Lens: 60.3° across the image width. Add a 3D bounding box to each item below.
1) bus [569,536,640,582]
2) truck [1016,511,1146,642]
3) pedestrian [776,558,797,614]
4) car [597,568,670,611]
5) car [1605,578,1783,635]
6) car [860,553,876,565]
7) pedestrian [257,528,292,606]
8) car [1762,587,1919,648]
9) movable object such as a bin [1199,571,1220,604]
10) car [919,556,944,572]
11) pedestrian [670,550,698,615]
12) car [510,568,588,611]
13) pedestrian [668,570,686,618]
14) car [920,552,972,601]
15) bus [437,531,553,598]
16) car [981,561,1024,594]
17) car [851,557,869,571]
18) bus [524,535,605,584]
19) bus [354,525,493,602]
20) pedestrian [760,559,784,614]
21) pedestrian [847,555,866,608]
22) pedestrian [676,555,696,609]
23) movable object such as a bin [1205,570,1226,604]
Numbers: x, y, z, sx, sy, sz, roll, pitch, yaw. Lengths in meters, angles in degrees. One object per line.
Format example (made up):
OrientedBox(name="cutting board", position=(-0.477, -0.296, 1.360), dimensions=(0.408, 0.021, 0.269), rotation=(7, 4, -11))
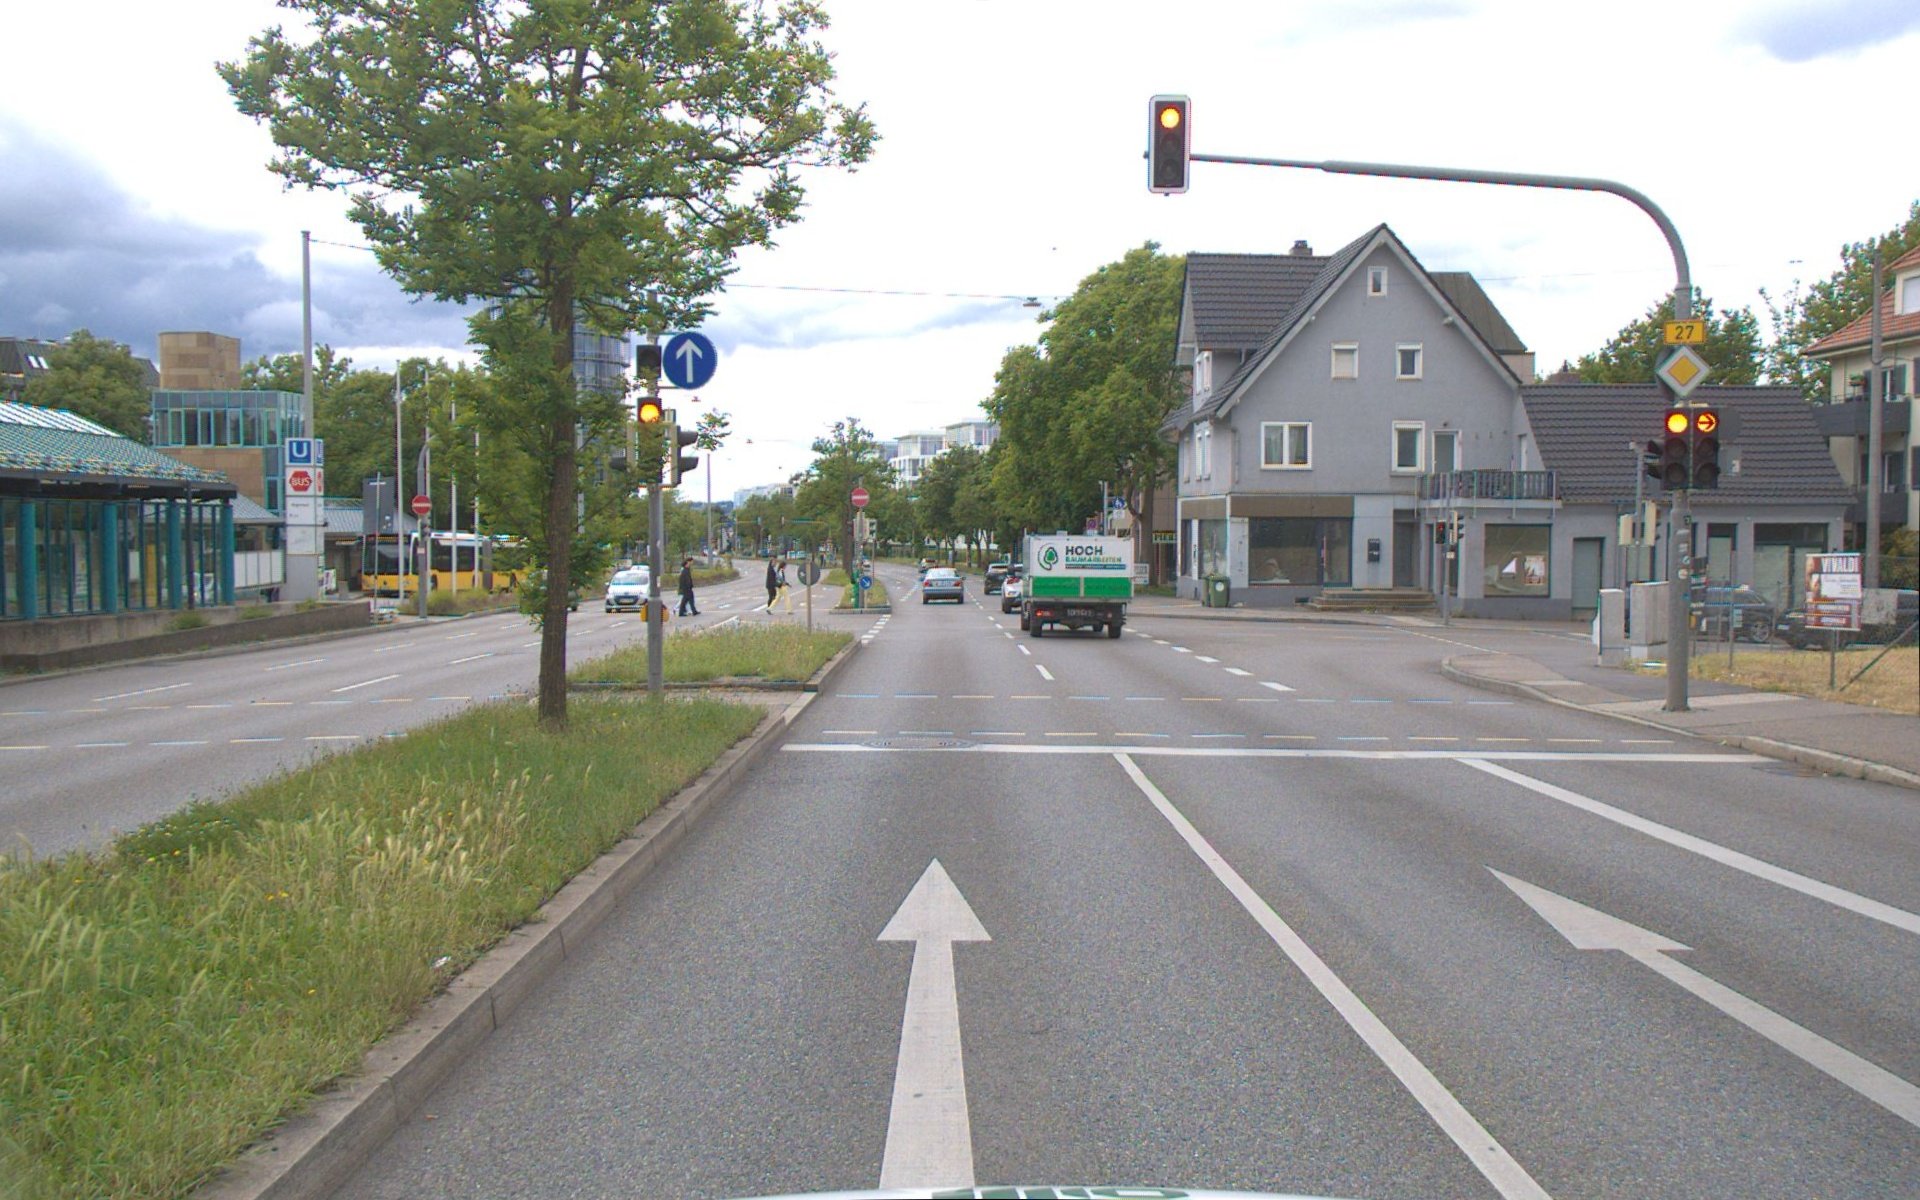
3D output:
OrientedBox(name="bus", position=(-28.751, -3.306, 134.312), dimensions=(2.772, 3.490, 10.739), rotation=(-1, 1, 4))
OrientedBox(name="truck", position=(2.611, -0.619, 37.490), dimensions=(2.420, 2.656, 6.549), rotation=(1, 2, 0))
OrientedBox(name="pedestrian", position=(-5.474, -0.438, 52.237), dimensions=(0.641, 1.746, 0.451), rotation=(-1, 1, -7))
OrientedBox(name="car", position=(-11.908, -0.402, 60.526), dimensions=(1.953, 1.512, 3.999), rotation=(-1, 1, -2))
OrientedBox(name="car", position=(19.838, 0.155, 44.796), dimensions=(4.006, 1.395, 1.799), rotation=(2, 1, -2))
OrientedBox(name="car", position=(-11.642, -5.186, 208.076), dimensions=(1.954, 1.545, 3.997), rotation=(-1, 1, -4))
OrientedBox(name="pedestrian", position=(-18.176, -0.863, 43.873), dimensions=(0.668, 2.049, 0.645), rotation=(-1, 1, -5))
OrientedBox(name="car", position=(22.618, 0.444, 41.592), dimensions=(4.006, 1.395, 1.799), rotation=(2, 1, -2))
OrientedBox(name="movable object such as a bin", position=(8.188, -0.422, 54.222), dimensions=(0.603, 1.061, 0.589), rotation=(1, 1, 1))
OrientedBox(name="car", position=(-2.894, -3.643, 166.205), dimensions=(1.957, 1.579, 3.992), rotation=(-1, 1, -9))
OrientedBox(name="pedestrian", position=(-8.671, -0.550, 51.981), dimensions=(0.814, 2.049, 0.545), rotation=(-1, 1, -7))
OrientedBox(name="car", position=(-15.064, -0.396, 60.858), dimensions=(1.953, 1.512, 3.999), rotation=(-1, 1, -2))
OrientedBox(name="pedestrian", position=(-9.033, -0.200, 52.855), dimensions=(0.533, 1.522, 0.486), rotation=(-1, 1, -7))
OrientedBox(name="car", position=(-0.571, -0.950, 65.557), dimensions=(1.953, 1.862, 4.000), rotation=(1, 1, -1))
OrientedBox(name="bus", position=(-25.684, -1.974, 91.955), dimensions=(2.772, 3.490, 10.739), rotation=(-1, 1, 4))
OrientedBox(name="car", position=(2.056, -1.123, 81.225), dimensions=(1.953, 1.579, 4.000), rotation=(1, 1, -1))
OrientedBox(name="car", position=(-11.216, -4.060, 185.782), dimensions=(1.954, 1.545, 3.997), rotation=(-1, 1, -4))
OrientedBox(name="bus", position=(-29.415, -3.001, 123.570), dimensions=(2.772, 3.490, 10.739), rotation=(-1, 1, 4))
OrientedBox(name="bus", position=(-26.321, -1.789, 81.843), dimensions=(2.772, 3.490, 10.739), rotation=(-1, 1, 4))
OrientedBox(name="pedestrian", position=(-6.020, -0.426, 53.012), dimensions=(0.731, 1.746, 0.582), rotation=(-1, 1, -7))
OrientedBox(name="pedestrian", position=(-3.449, -0.618, 54.964), dimensions=(0.572, 1.746, 0.545), rotation=(-1, 1, -7))
OrientedBox(name="pedestrian", position=(-8.873, -0.579, 53.541), dimensions=(0.601, 1.746, 0.545), rotation=(-1, 1, -7))
OrientedBox(name="movable object such as a bin", position=(8.260, -0.420, 53.471), dimensions=(0.592, 1.078, 0.589), rotation=(1, 1, 1))
